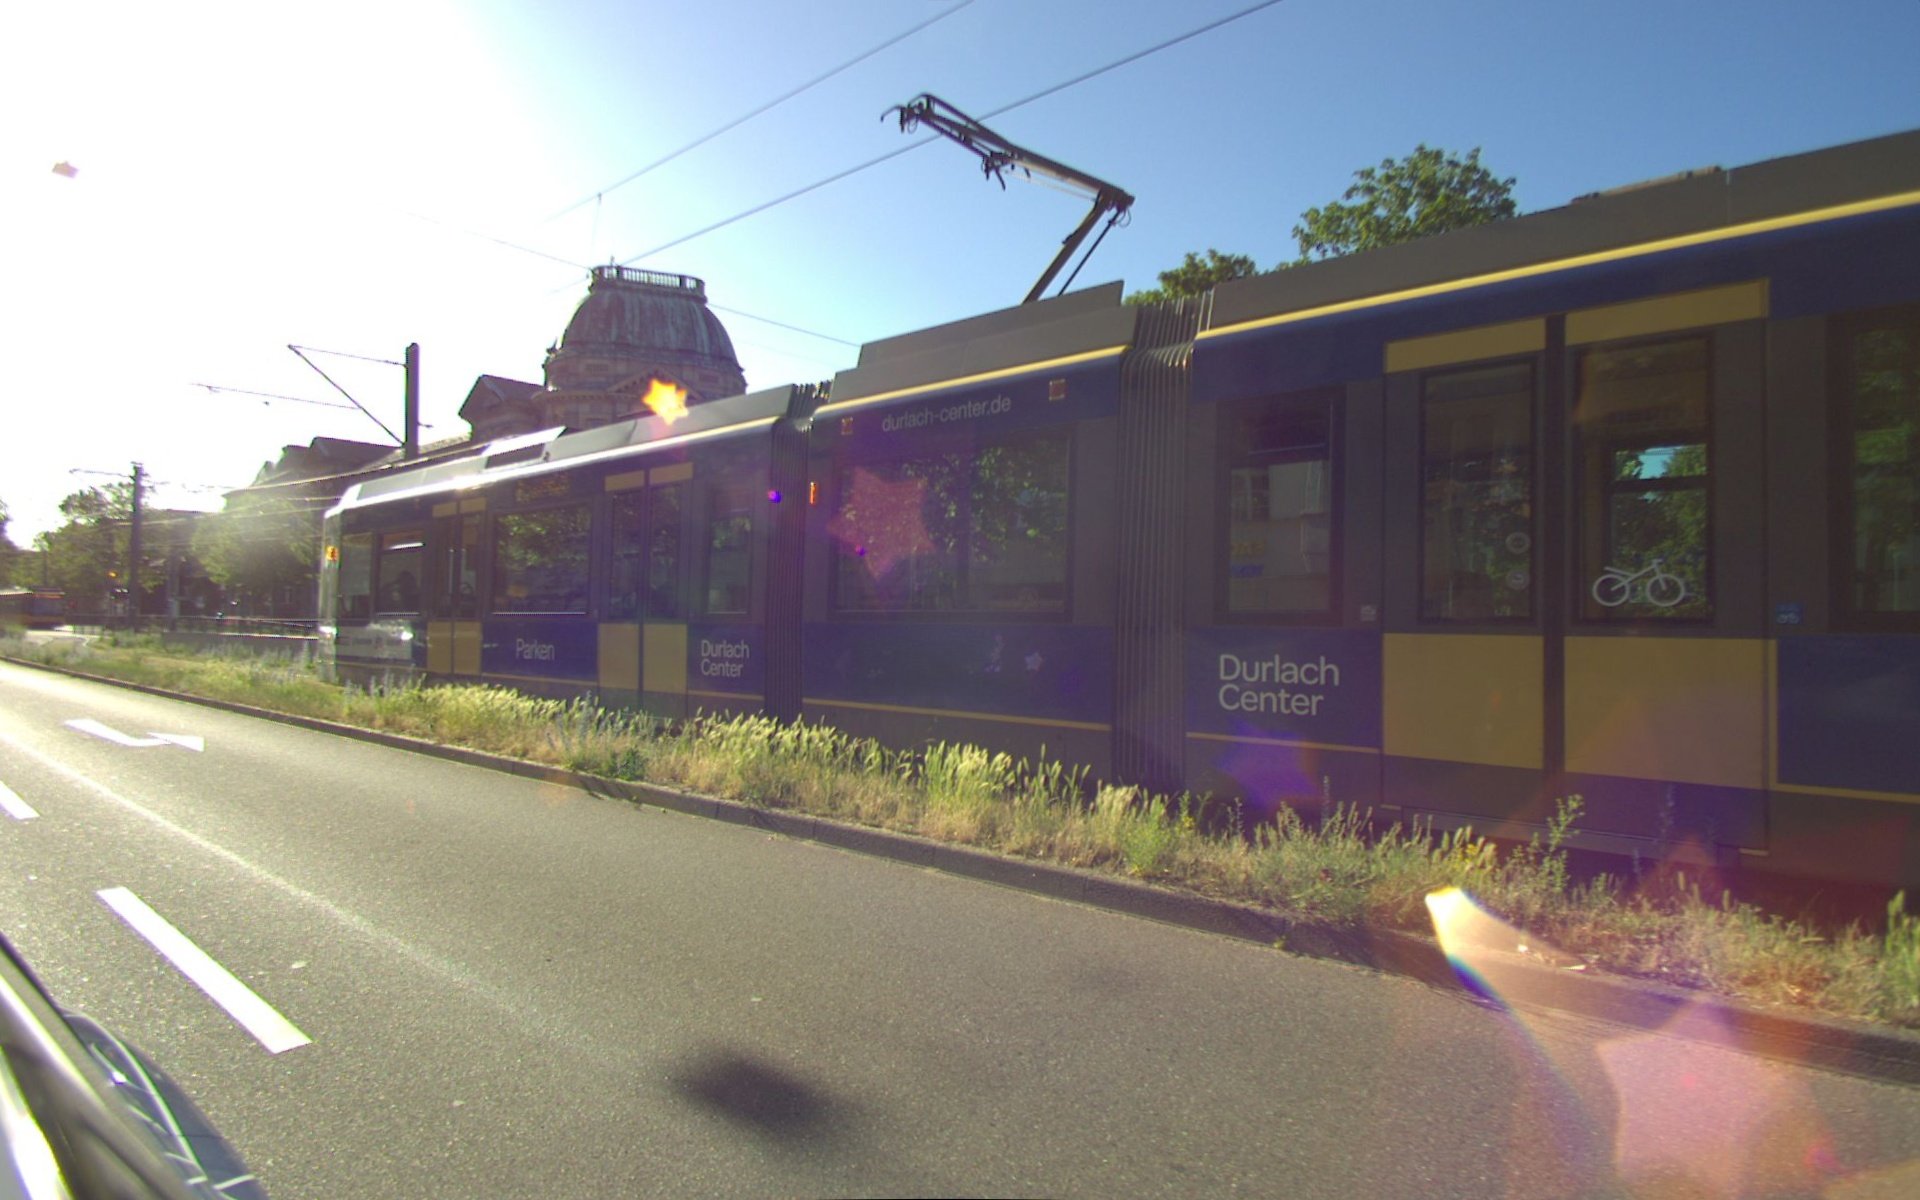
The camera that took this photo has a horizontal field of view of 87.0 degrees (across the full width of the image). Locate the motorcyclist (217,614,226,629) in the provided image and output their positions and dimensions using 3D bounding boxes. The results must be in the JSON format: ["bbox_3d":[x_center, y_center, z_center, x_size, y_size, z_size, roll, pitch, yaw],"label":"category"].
[{"bbox_3d":[-63.512,1.848,87.055,0.691,1.267,0.508,-1,0,45],"label":"motorcyclist"}]

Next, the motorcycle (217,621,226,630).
[{"bbox_3d":[-63.530,2.202,87.070,1.522,0.789,0.364,0,0,43],"label":"motorcycle"}]

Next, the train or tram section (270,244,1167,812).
[{"bbox_3d":[-4.535,-0.467,12.562,14.262,3.841,2.899,0,0,40],"label":"train or tram section"}]

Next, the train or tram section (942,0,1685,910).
[{"bbox_3d":[2.303,-0.637,6.740,3.864,3.926,2.925,-1,0,41],"label":"train or tram section"}]

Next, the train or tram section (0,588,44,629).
[{"bbox_3d":[-82.304,0.747,88.068,6.053,3.510,2.927,-1,0,39],"label":"train or tram section"}]

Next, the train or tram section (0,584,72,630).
[{"bbox_3d":[-75.613,0.617,82.586,11.274,3.510,2.932,-1,0,39],"label":"train or tram section"}]

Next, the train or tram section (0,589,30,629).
[{"bbox_3d":[-92.790,0.912,96.791,21.198,3.510,2.934,-1,0,40],"label":"train or tram section"}]

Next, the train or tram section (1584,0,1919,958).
[{"bbox_3d":[7.775,-0.677,2.014,10.797,3.926,2.922,0,0,41],"label":"train or tram section"}]
